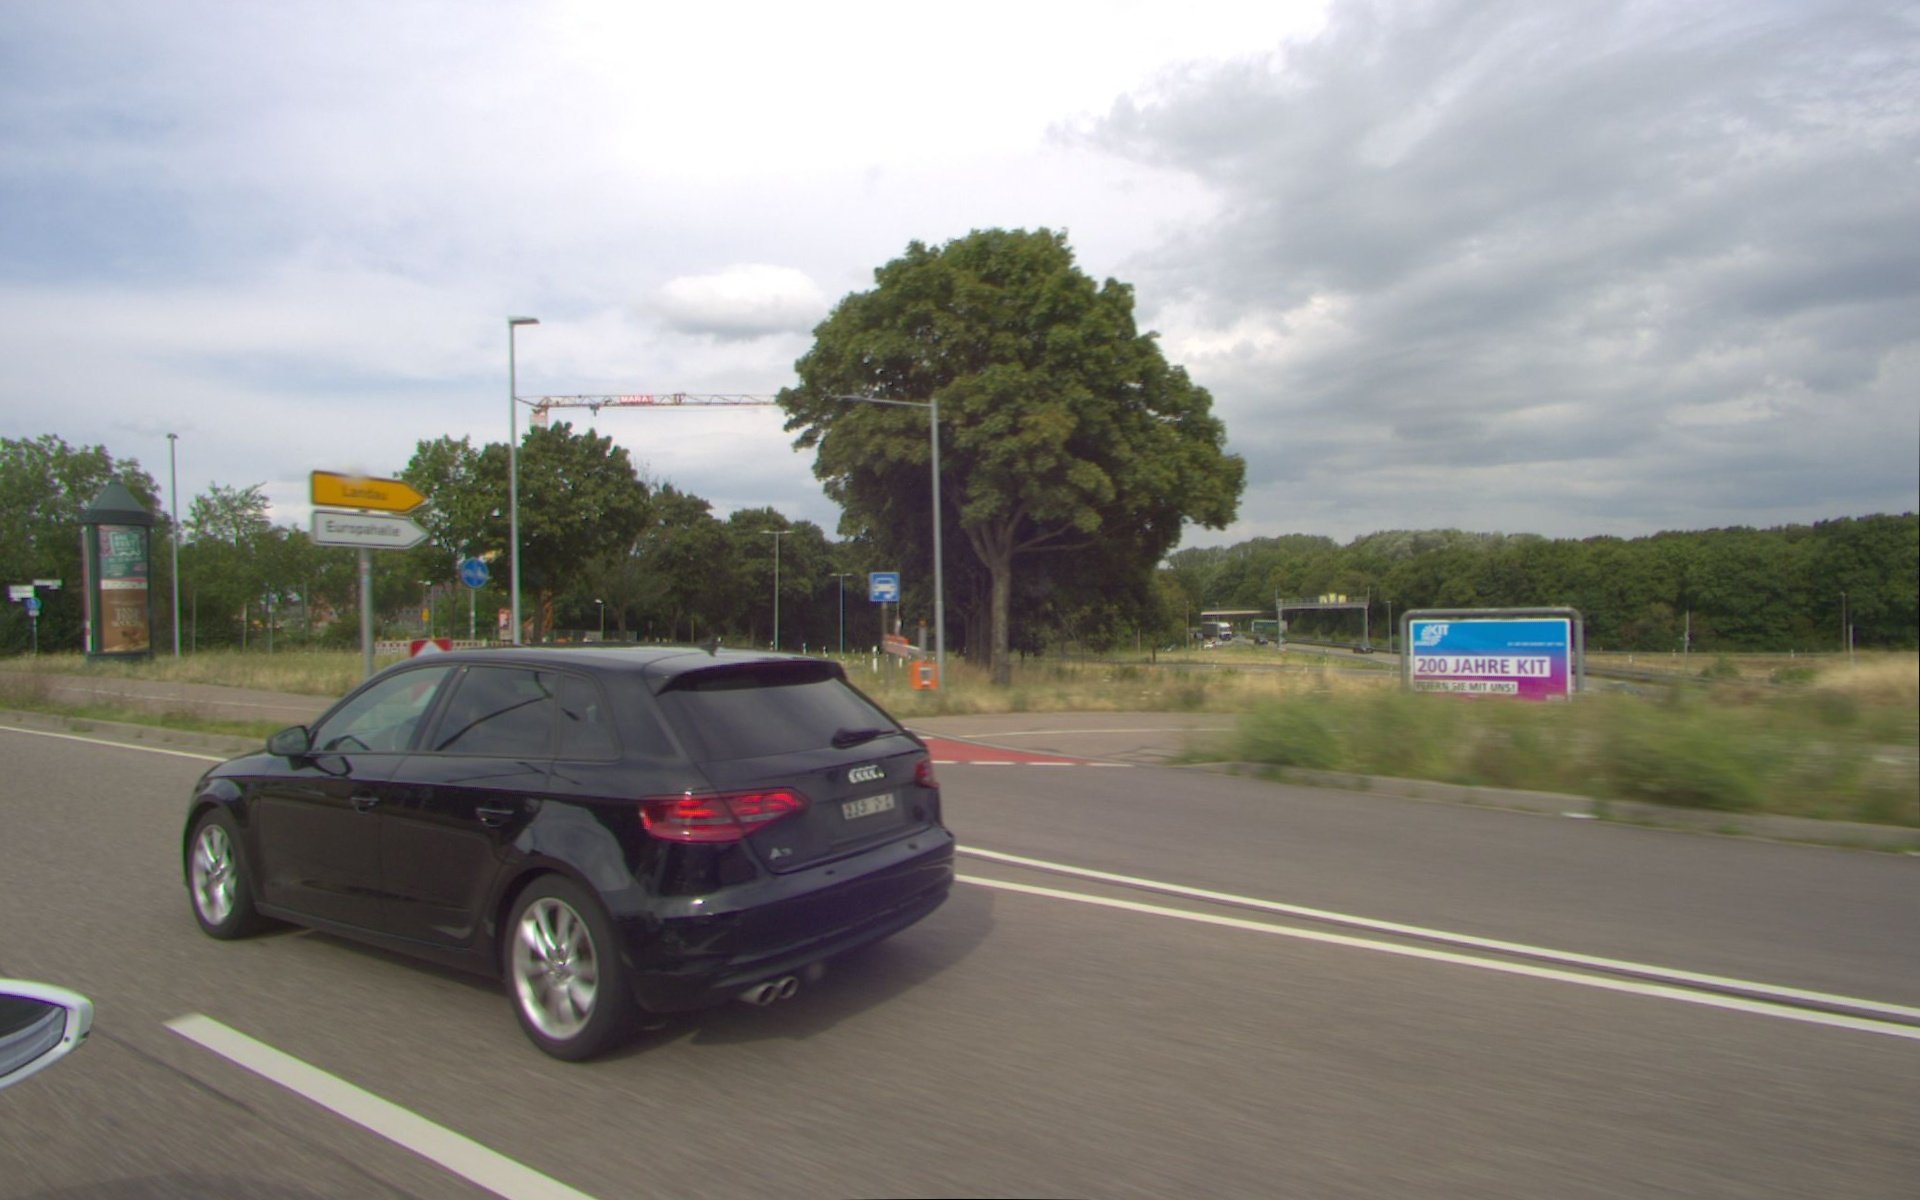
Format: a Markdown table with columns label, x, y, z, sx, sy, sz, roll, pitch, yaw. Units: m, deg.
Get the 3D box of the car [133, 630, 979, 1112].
| label | x | y | z | sx | sy | sz | roll | pitch | yaw |
| --- | --- | --- | --- | --- | --- | --- | --- | --- | --- |
| car | -2.080 | 0.866 | 4.811 | 4.055 | 1.413 | 1.728 | -1 | -1 | 32 |
